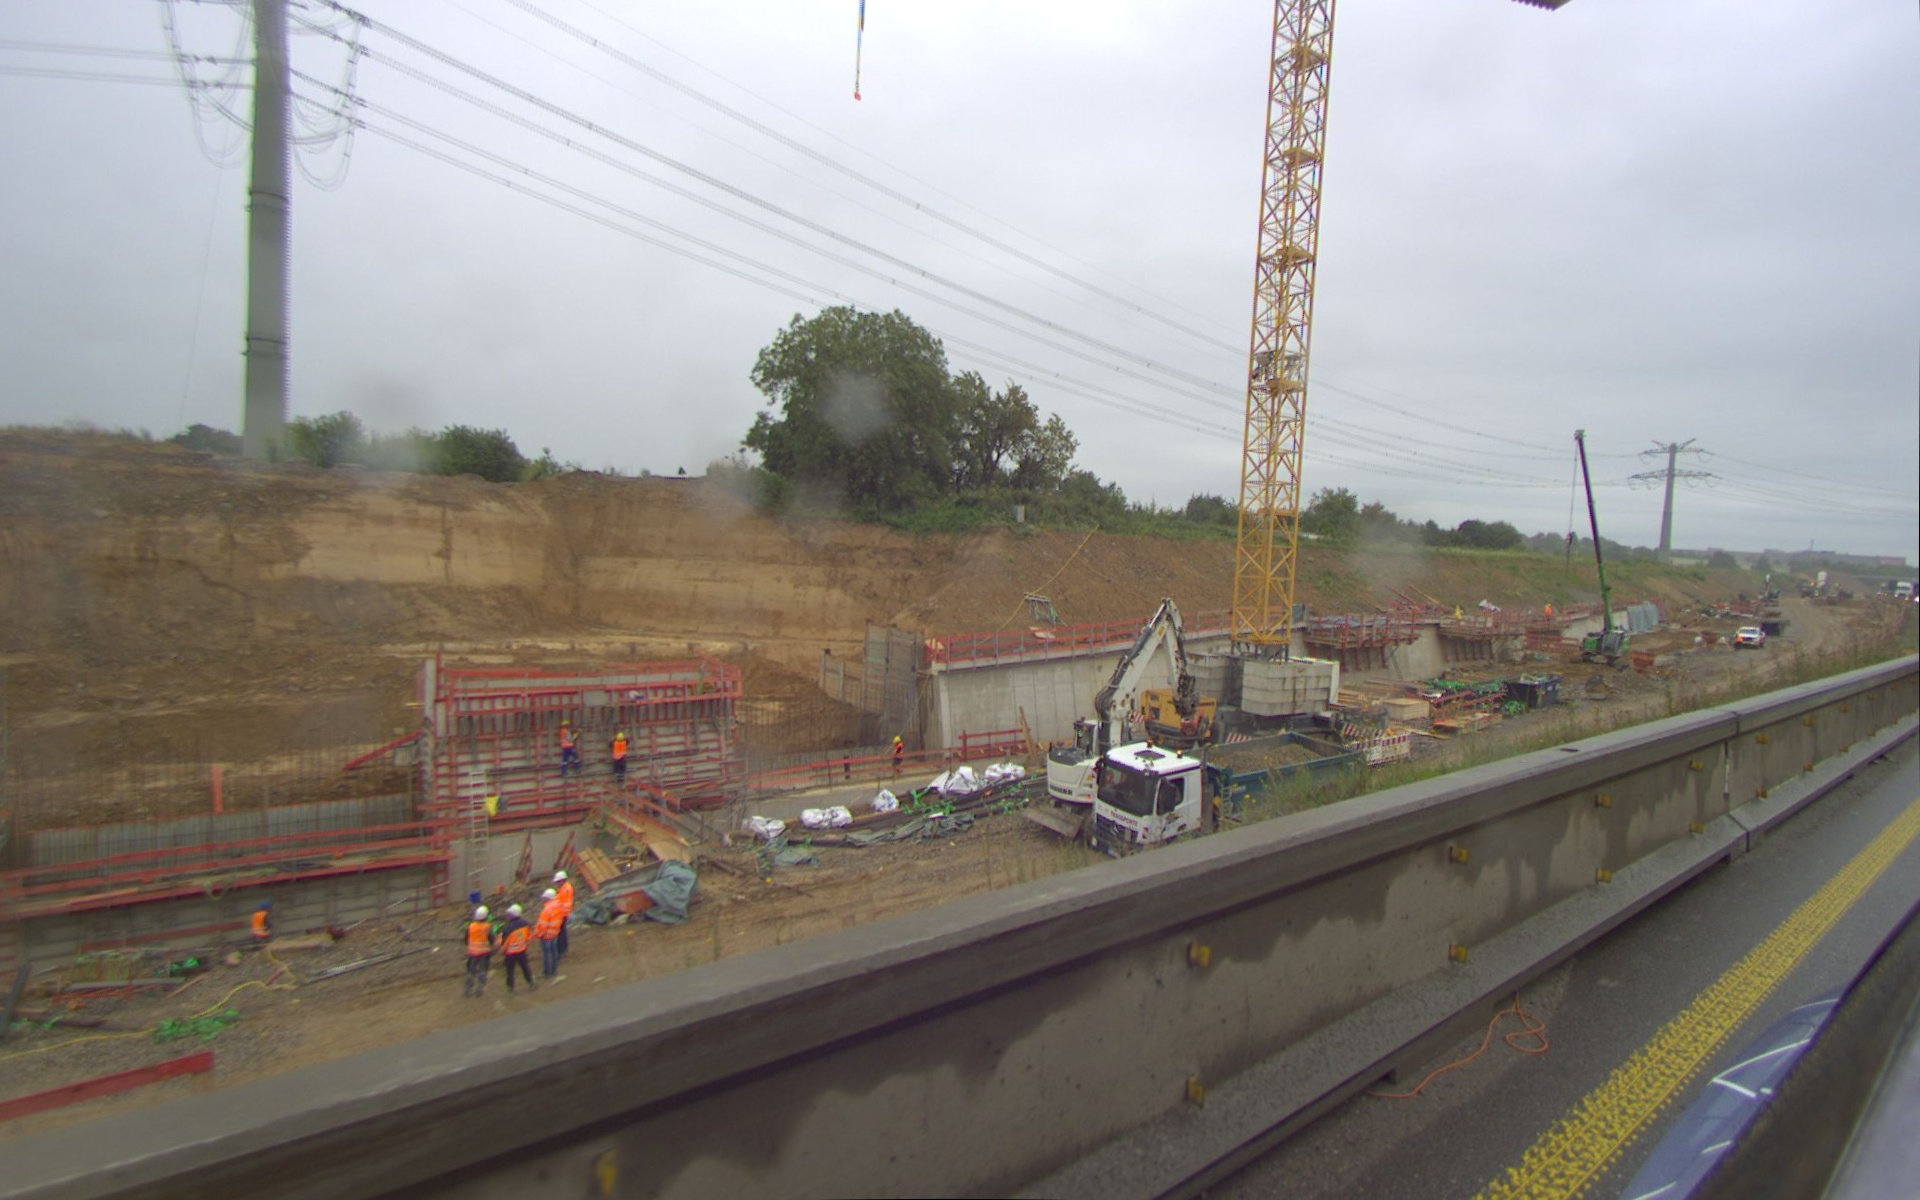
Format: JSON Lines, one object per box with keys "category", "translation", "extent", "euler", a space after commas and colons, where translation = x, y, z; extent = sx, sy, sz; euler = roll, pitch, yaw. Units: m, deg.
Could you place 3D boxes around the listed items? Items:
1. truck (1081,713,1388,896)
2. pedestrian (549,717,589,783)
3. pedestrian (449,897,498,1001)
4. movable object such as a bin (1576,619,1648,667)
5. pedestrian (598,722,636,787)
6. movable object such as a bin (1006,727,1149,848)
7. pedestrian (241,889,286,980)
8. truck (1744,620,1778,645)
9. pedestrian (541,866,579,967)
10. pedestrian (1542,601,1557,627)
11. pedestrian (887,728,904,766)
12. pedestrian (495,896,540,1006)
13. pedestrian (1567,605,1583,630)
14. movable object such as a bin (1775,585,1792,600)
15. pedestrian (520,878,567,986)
{"category": "truck", "translation": [7.717, 5.345, 27.925], "extent": [8.768, 3.547, 2.711], "euler": [-1, 1, -29]}
{"category": "pedestrian", "translation": [-12.794, 4.906, 33.098], "extent": [0.882, 2.027, 0.904], "euler": [-1, -9, -36]}
{"category": "pedestrian", "translation": [-9.864, 7.072, 20.543], "extent": [0.720, 1.893, 0.576], "euler": [0, 1, -4]}
{"category": "movable object such as a bin", "translation": [50.174, 3.240, 77.892], "extent": [3.794, 2.836, 4.783], "euler": [2, 7, 44]}
{"category": "pedestrian", "translation": [-11.536, 5.195, 34.026], "extent": [0.882, 2.027, 0.904], "euler": [-1, -9, -36]}
{"category": "movable object such as a bin", "translation": [3.520, 5.523, 30.521], "extent": [2.917, 2.772, 3.155], "euler": [-1, 1, -41]}
{"category": "pedestrian", "translation": [-18.181, 8.696, 26.396], "extent": [0.889, 2.027, 0.897], "euler": [-1, -9, -37]}
{"category": "truck", "translation": [72.146, 2.905, 91.137], "extent": [1.763, 1.894, 5.693], "euler": [3, 3, 45]}
{"category": "pedestrian", "translation": [-8.783, 6.934, 22.224], "extent": [0.564, 1.968, 0.736], "euler": [0, 1, -3]}
{"category": "pedestrian", "translation": [54.087, 1.294, 92.847], "extent": [0.914, 2.275, 0.991], "euler": [-5, -3, 41]}
{"category": "pedestrian", "translation": [-2.601, 5.925, 40.686], "extent": [0.392, 1.455, 0.424], "euler": [-1, -8, -38]}
{"category": "pedestrian", "translation": [-8.940, 7.068, 20.446], "extent": [0.721, 1.893, 0.575], "euler": [-1, 1, -34]}
{"category": "pedestrian", "translation": [57.660, 1.658, 94.875], "extent": [0.989, 2.260, 0.916], "euler": [-2, -3, -41]}
{"category": "movable object such as a bin", "translation": [151.514, -1.414, 186.262], "extent": [2.244, 2.753, 3.940], "euler": [0, 1, 42]}
{"category": "pedestrian", "translation": [-8.741, 6.952, 21.272], "extent": [0.568, 1.968, 0.730], "euler": [0, 1, 21]}
